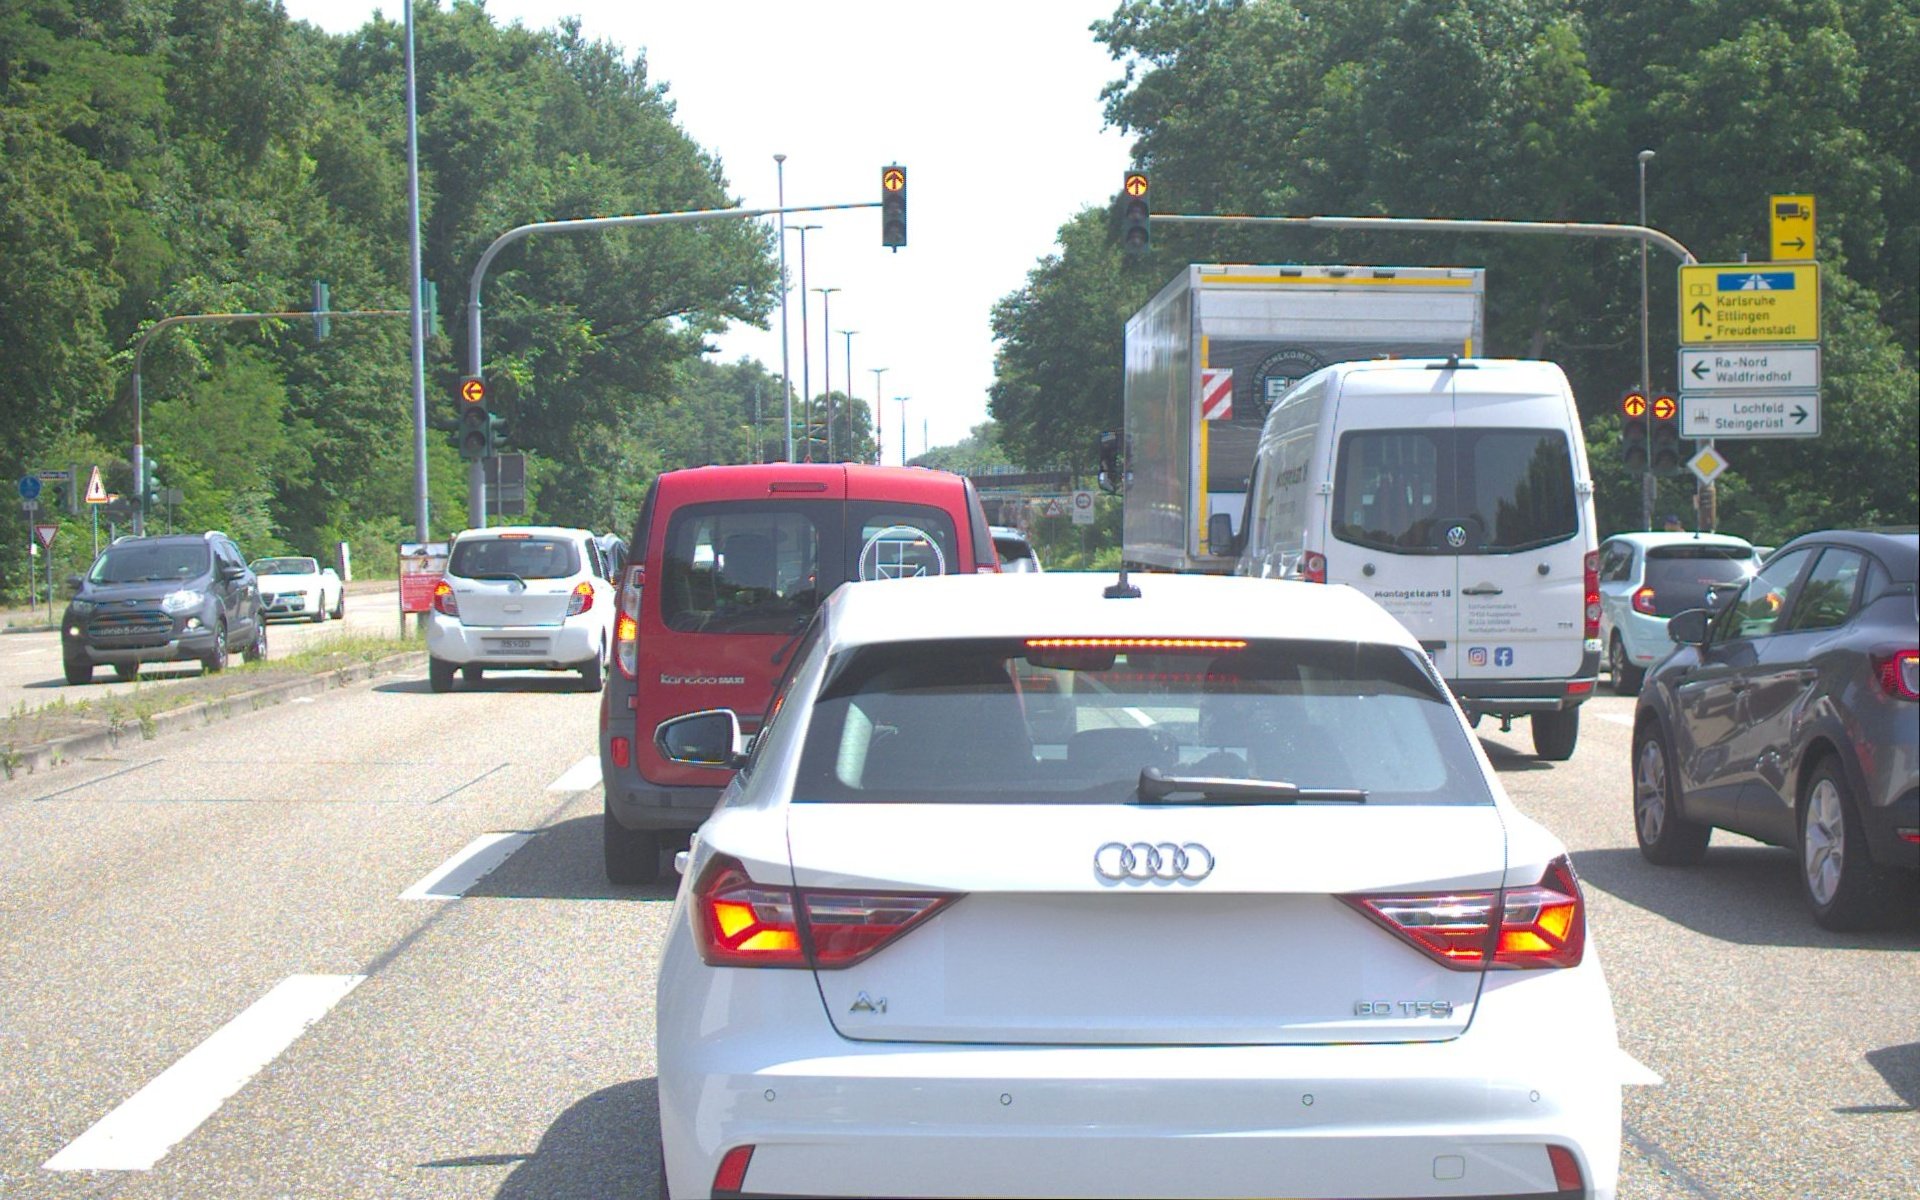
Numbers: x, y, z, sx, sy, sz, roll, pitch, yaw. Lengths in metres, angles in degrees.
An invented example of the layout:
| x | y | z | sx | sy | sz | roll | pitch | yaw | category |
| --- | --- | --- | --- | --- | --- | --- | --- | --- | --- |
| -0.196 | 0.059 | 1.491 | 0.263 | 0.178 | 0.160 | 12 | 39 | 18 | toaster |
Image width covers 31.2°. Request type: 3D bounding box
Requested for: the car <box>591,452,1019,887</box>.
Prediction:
| x | y | z | sx | sy | sz | roll | pitch | yaw | category |
| --- | --- | --- | --- | --- | --- | --- | --- | --- | --- |
| -0.703 | 0.236 | 15.847 | 1.711 | 1.742 | 4.092 | 0 | 1 | -2 | car |

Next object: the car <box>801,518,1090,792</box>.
| x | y | z | sx | sy | sz | roll | pitch | yaw | category |
| --- | --- | --- | --- | --- | --- | --- | --- | --- | --- |
| -0.169 | 0.283 | 22.447 | 1.711 | 1.626 | 4.092 | 0 | 1 | -2 | car |

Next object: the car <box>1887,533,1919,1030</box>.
| x | y | z | sx | sy | sz | roll | pitch | yaw | category |
| --- | --- | --- | --- | --- | --- | --- | --- | --- | --- |
| 3.799 | 0.617 | 8.467 | 1.711 | 1.473 | 4.092 | 3 | 1 | -2 | car |

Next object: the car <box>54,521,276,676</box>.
| x | y | z | sx | sy | sz | roll | pitch | yaw | category |
| --- | --- | --- | --- | --- | --- | --- | --- | --- | --- |
| -9.065 | -0.058 | 39.482 | 1.686 | 1.594 | 3.885 | -4 | 1 | -2 | car |

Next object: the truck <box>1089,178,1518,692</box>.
| x | y | z | sx | sy | sz | roll | pitch | yaw | category |
| --- | --- | --- | --- | --- | --- | --- | --- | --- | --- |
| 3.196 | -1.557 | 35.613 | 3.088 | 4.418 | 11.581 | 1 | 1 | -1 | truck |

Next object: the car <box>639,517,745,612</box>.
| x | y | z | sx | sy | sz | roll | pitch | yaw | category |
| --- | --- | --- | --- | --- | --- | --- | --- | --- | --- |
| -5.987 | -0.816 | 76.349 | 1.993 | 2.007 | 4.001 | -1 | 1 | -9 | car |

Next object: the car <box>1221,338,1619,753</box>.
| x | y | z | sx | sy | sz | roll | pitch | yaw | category |
| --- | --- | --- | --- | --- | --- | --- | --- | --- | --- |
| 3.113 | -0.396 | 24.301 | 2.031 | 2.635 | 4.846 | 0 | 1 | -1 | car |

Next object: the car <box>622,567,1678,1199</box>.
| x | y | z | sx | sy | sz | roll | pitch | yaw | category |
| --- | --- | --- | --- | --- | --- | --- | --- | --- | --- |
| 0.230 | 0.643 | 7.611 | 1.711 | 1.381 | 4.092 | 0 | 1 | -2 | car |

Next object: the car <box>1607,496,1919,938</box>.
| x | y | z | sx | sy | sz | roll | pitch | yaw | category |
| --- | --- | --- | --- | --- | --- | --- | --- | --- | --- |
| 4.032 | 0.375 | 14.413 | 1.711 | 1.587 | 4.092 | 0 | 1 | -2 | car |

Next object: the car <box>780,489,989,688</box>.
| x | y | z | sx | sy | sz | roll | pitch | yaw | category |
| --- | --- | --- | --- | --- | --- | --- | --- | --- | --- |
| -0.699 | -0.138 | 30.202 | 1.711 | 1.626 | 4.092 | 0 | 1 | -2 | car |

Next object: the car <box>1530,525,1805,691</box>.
| x | y | z | sx | sy | sz | roll | pitch | yaw | category |
| --- | --- | --- | --- | --- | --- | --- | --- | --- | --- |
| 6.890 | 0.032 | 33.861 | 1.711 | 1.541 | 4.092 | 0 | 1 | -2 | car |

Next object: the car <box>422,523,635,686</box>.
| x | y | z | sx | sy | sz | roll | pitch | yaw | category |
| --- | --- | --- | --- | --- | --- | --- | --- | --- | --- |
| -4.119 | -0.003 | 33.359 | 1.711 | 1.487 | 4.092 | 0 | 1 | -2 | car |

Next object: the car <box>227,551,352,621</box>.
| x | y | z | sx | sy | sz | roll | pitch | yaw | category |
| --- | --- | --- | --- | --- | --- | --- | --- | --- | --- |
| -13.463 | -0.304 | 69.222 | 1.718 | 1.258 | 4.302 | -3 | 1 | -1 | car |
